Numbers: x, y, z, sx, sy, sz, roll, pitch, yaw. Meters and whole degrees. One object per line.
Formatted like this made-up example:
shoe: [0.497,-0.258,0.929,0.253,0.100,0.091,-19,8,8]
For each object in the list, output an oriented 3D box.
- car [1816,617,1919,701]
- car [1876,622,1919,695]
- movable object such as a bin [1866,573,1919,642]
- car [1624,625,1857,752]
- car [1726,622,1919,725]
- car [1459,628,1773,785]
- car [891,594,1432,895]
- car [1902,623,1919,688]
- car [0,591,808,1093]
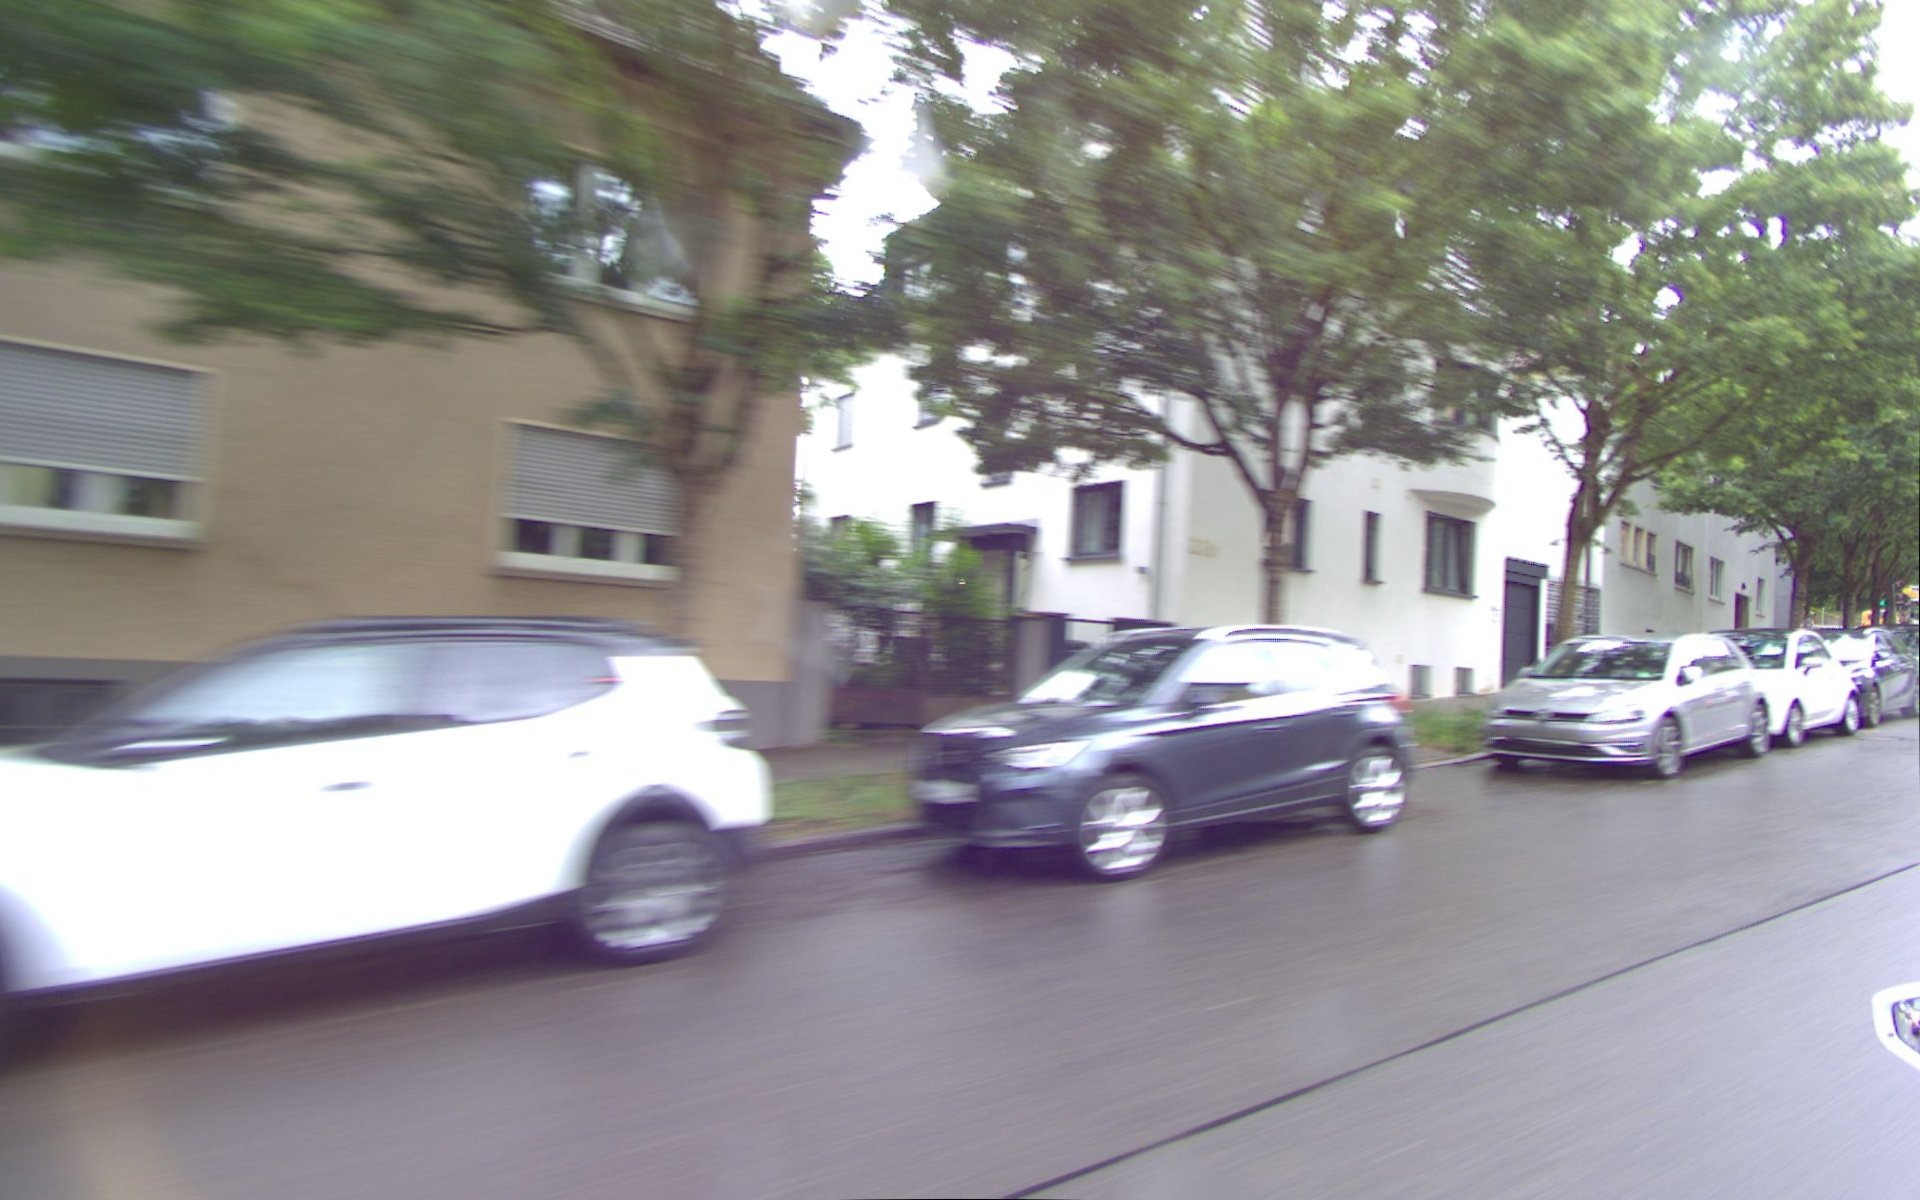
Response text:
car: [18.537,1.175,19.980,3.352,1.530,1.545,2,-5,-37]
car: [21.711,1.275,22.135,4.062,1.507,1.544,2,-5,-38]
movable object such as a bin: [57.697,0.460,59.160,2.771,4.068,7.331,1,0,8]
car: [10.809,1.154,13.855,3.435,1.507,1.564,0,-4,-36]
car: [14.551,1.193,16.629,4.431,1.507,1.654,2,-5,-35]
car: [7.528,1.127,11.423,3.933,1.489,1.608,2,-5,-35]
car: [1.578,0.919,7.409,3.883,1.679,1.609,2,-5,-34]
car: [25.198,1.380,25.353,3.818,1.585,1.619,2,-4,-40]
car: [-2.818,0.911,4.616,3.880,1.679,1.585,1,-7,-32]
